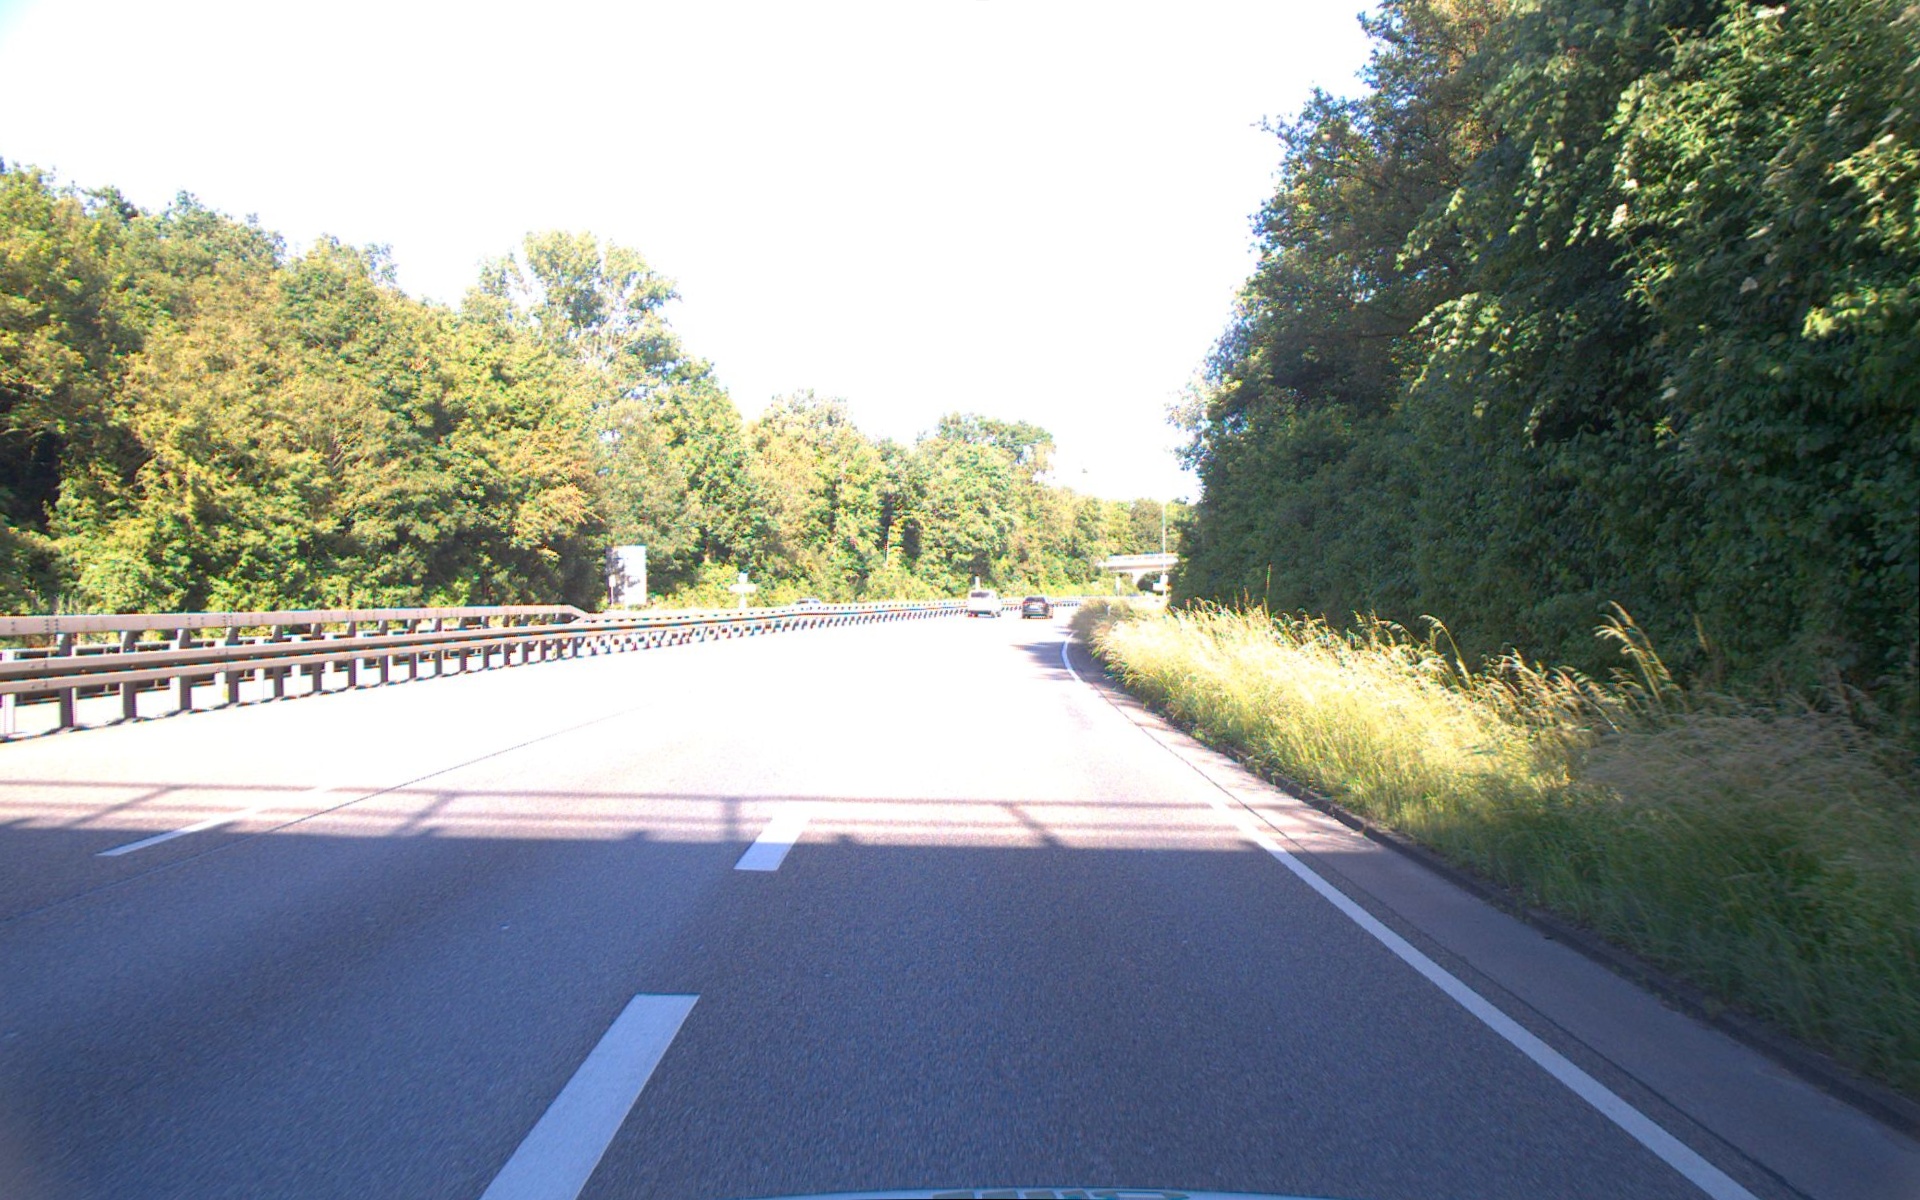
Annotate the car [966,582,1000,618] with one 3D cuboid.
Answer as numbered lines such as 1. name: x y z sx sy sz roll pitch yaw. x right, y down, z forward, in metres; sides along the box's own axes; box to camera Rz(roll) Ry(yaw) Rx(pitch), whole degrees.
1. car: 1.528 0.026 109.210 1.951 2.317 4.002 -1 0 5

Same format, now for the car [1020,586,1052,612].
1. car: 4.970 -0.060 107.857 1.702 1.691 3.949 -1 0 9

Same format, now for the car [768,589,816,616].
1. car: -13.677 0.213 134.673 1.953 2.049 4.628 0 -1 21
